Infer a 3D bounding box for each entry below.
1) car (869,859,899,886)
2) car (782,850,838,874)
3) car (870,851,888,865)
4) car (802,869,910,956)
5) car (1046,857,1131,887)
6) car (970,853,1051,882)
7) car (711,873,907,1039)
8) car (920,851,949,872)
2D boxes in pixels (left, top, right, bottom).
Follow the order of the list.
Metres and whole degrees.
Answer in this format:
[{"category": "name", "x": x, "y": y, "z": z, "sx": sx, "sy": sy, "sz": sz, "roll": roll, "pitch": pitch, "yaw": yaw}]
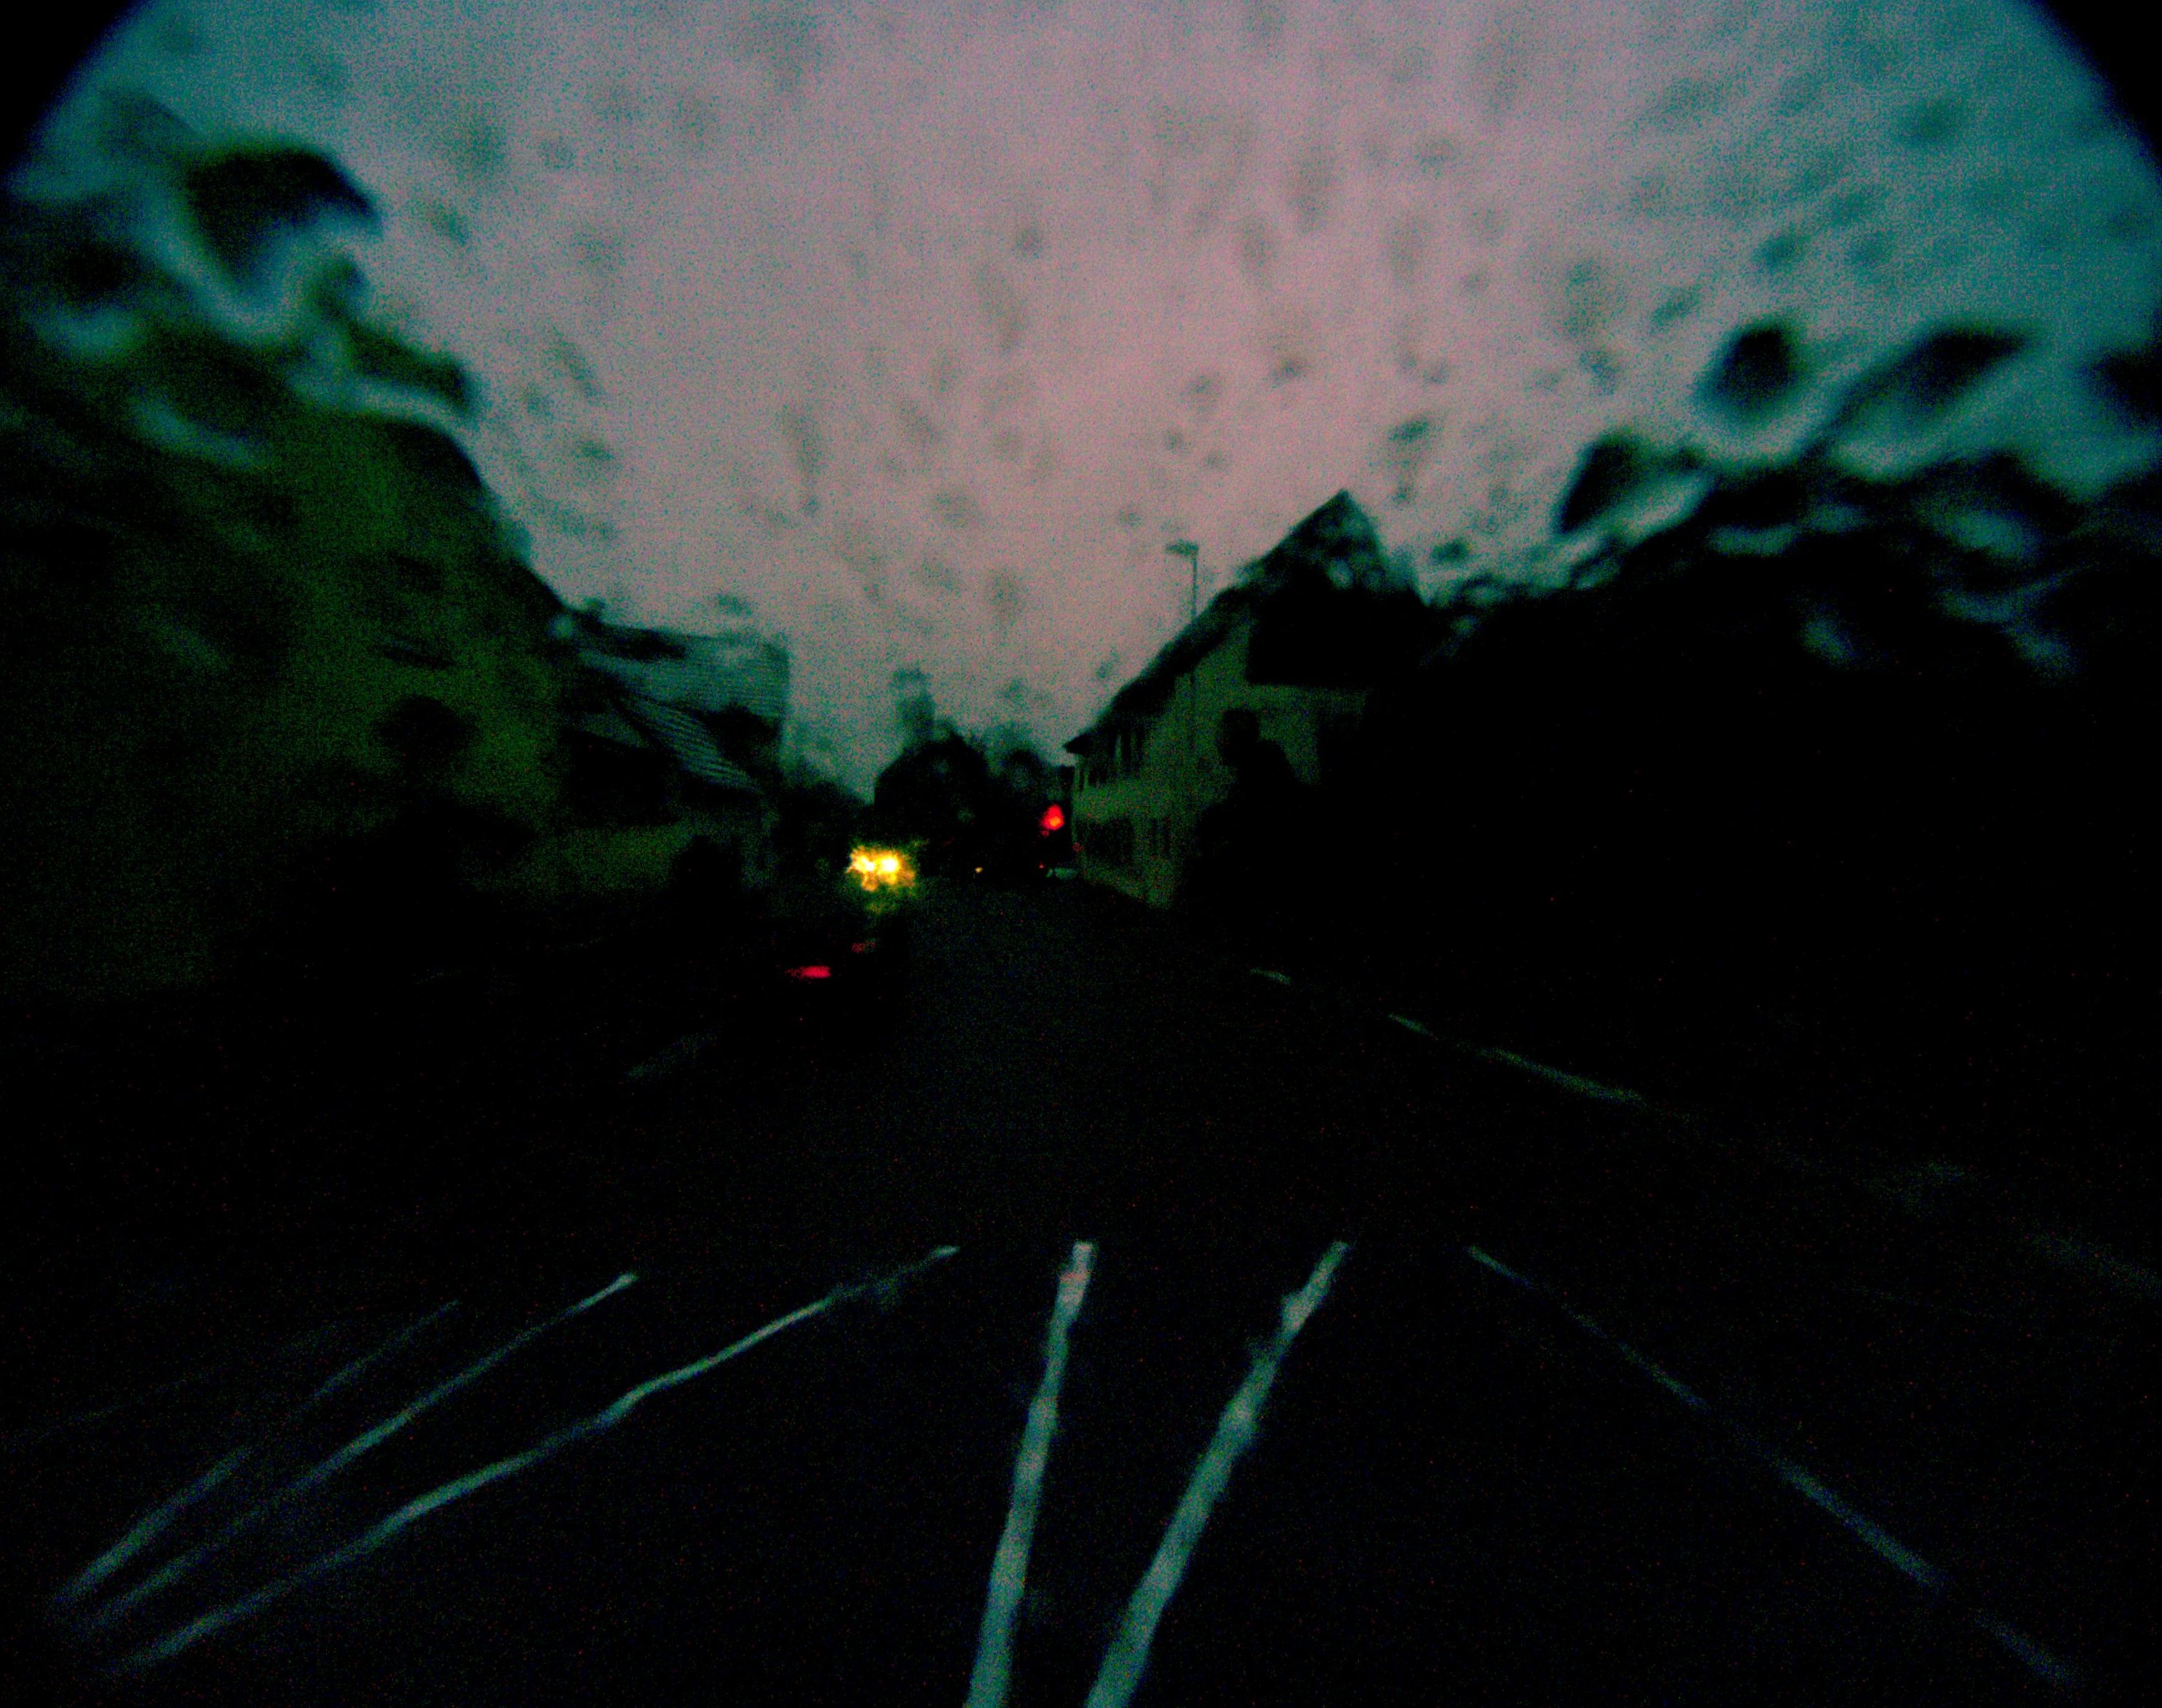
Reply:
[{"category": "car", "x": -15.609, "y": 1.428, "z": 60.087, "sx": 2.002, "sy": 2.002, "sz": 3.993, "roll": -1, "pitch": 1, "yaw": -19}, {"category": "car", "x": -21.307, "y": 0.605, "z": 59.697, "sx": 4.004, "sy": 1.783, "sz": 1.996, "roll": -2, "pitch": 1, "yaw": -23}, {"category": "car", "x": -24.402, "y": 0.482, "z": 91.977, "sx": 1.766, "sy": 1.489, "sz": 3.995, "roll": -2, "pitch": 1, "yaw": -11}, {"category": "car", "x": -4.737, "y": 1.137, "z": 16.604, "sx": 1.796, "sy": 1.431, "sz": 4.617, "roll": -1, "pitch": 1, "yaw": -11}, {"category": "car", "x": 0.335, "y": 0.867, "z": 39.148, "sx": 2.004, "sy": 1.417, "sz": 4.225, "roll": -2, "pitch": 1, "yaw": -44}, {"category": "car", "x": -4.290, "y": 0.799, "z": 46.174, "sx": 4.485, "sy": 1.570, "sz": 1.996, "roll": -1, "pitch": 1, "yaw": -21}, {"category": "car", "x": -3.253, "y": 1.073, "z": 9.999, "sx": 1.732, "sy": 1.423, "sz": 4.792, "roll": -1, "pitch": 1, "yaw": -12}, {"category": "car", "x": -12.113, "y": 0.606, "z": 62.493, "sx": 2.001, "sy": 1.619, "sz": 3.994, "roll": -1, "pitch": 1, "yaw": -15}]
